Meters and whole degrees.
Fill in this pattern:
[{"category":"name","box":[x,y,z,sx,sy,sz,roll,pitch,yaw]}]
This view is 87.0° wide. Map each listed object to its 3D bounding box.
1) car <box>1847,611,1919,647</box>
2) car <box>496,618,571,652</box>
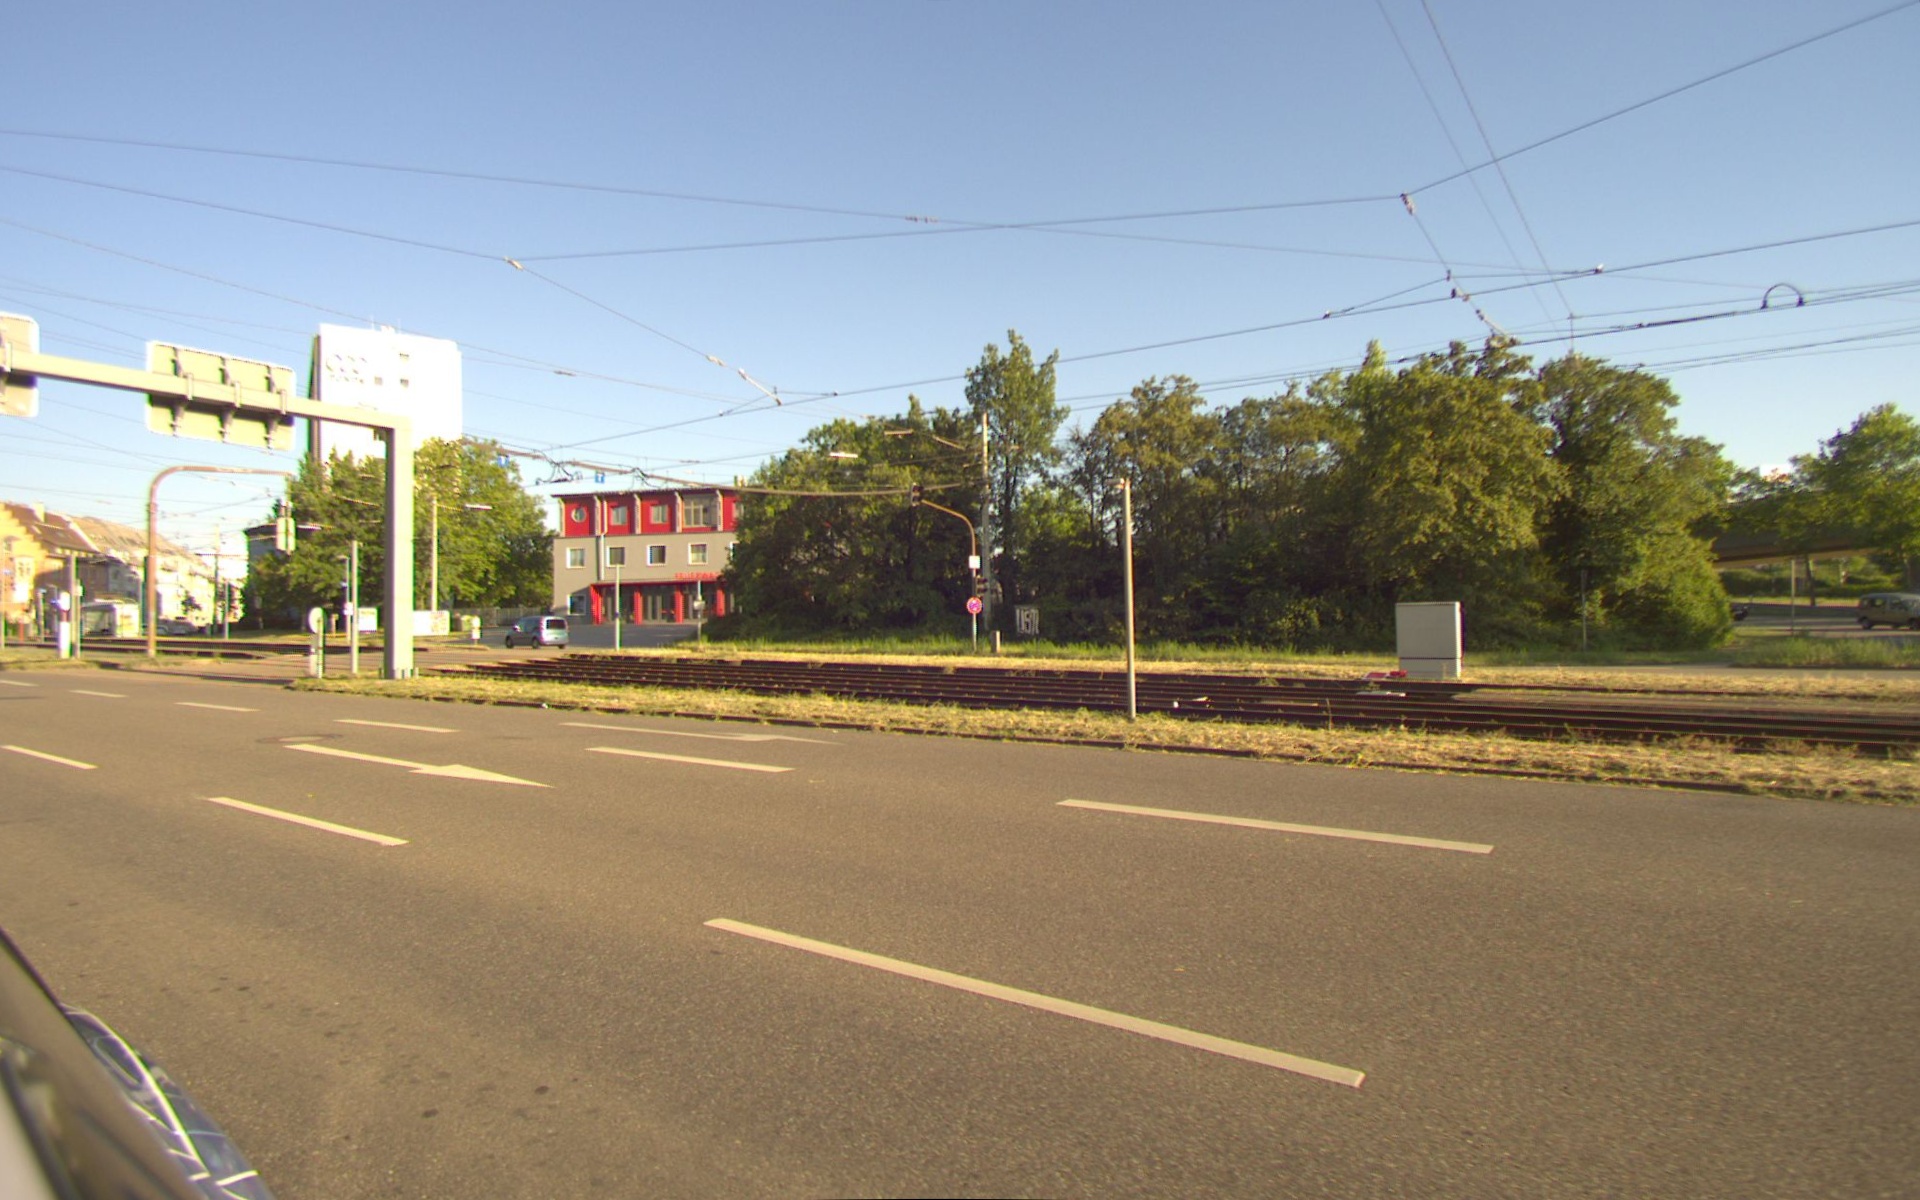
[{"category":"car","box":[46.173,1.378,49.328,1.668,1.691,4.418,-1,-1,-4]},{"category":"car","box":[-23.348,1.948,55.359,4.251,1.801,1.915,-2,-2,37]}]
